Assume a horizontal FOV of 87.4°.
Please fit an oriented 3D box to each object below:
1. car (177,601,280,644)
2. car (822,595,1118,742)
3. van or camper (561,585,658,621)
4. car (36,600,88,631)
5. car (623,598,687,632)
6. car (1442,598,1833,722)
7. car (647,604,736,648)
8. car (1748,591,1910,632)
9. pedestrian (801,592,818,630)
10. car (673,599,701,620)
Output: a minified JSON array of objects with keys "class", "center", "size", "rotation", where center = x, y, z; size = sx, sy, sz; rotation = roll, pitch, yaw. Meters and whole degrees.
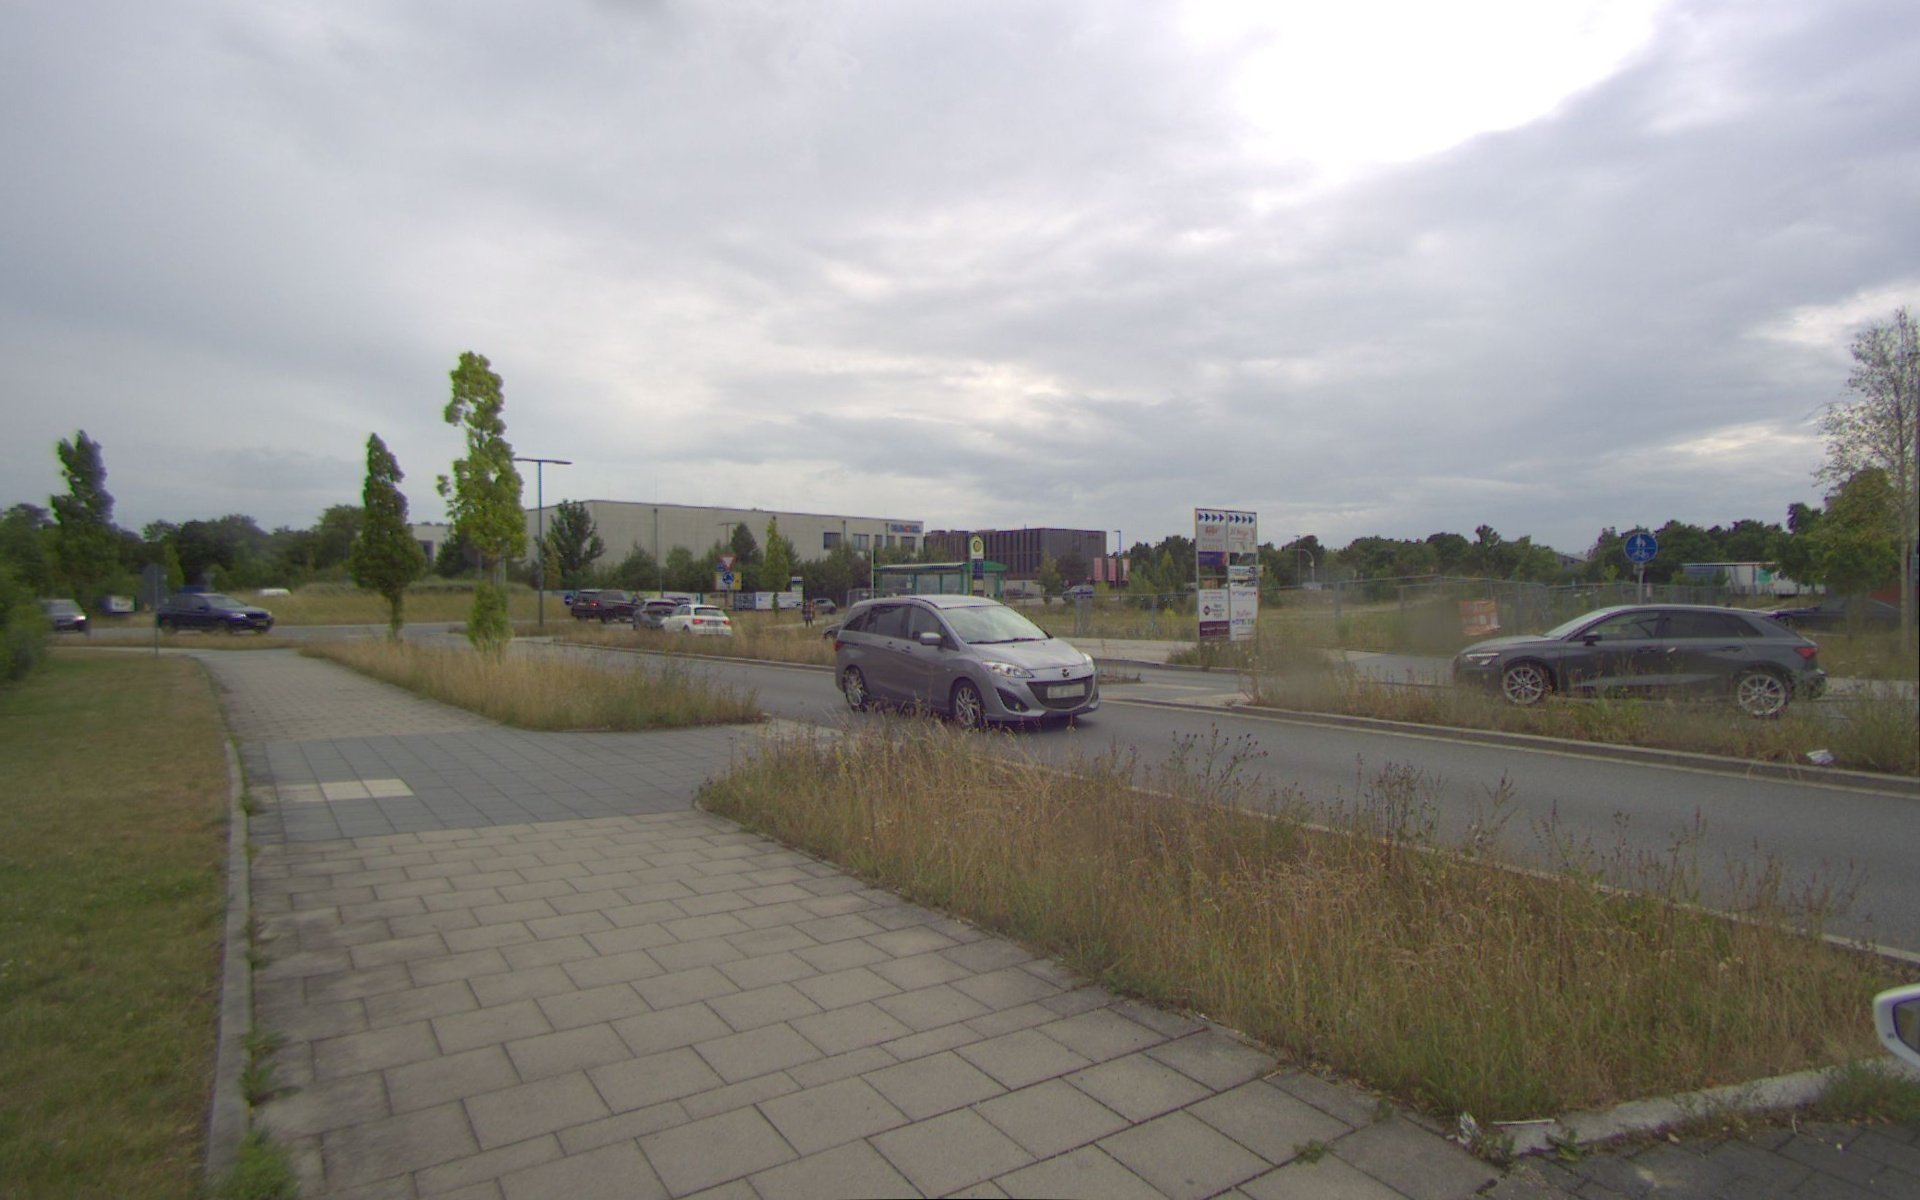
[{"class":"car","center":[-30.139,0.877,41.393],"size":[3.927,1.662,1.892],"rotation":[0,1,28]},{"class":"car","center":[-0.047,0.751,13.488],"size":[1.802,1.584,4.359],"rotation":[-2,1,-34]},{"class":"van or camper","center":[-18.173,0.141,52.316],"size":[1.965,1.772,4.561],"rotation":[1,1,32]},{"class":"car","center":[-40.936,0.675,45.821],"size":[1.547,1.372,3.256],"rotation":[0,1,-38]},{"class":"car","center":[-13.555,0.616,44.492],"size":[1.700,1.361,4.028],"rotation":[0,1,-33]},{"class":"car","center":[9.165,0.735,14.068],"size":[4.237,1.486,1.796],"rotation":[0,1,23]},{"class":"car","center":[-10.132,0.936,37.760],"size":[1.744,1.500,4.009],"rotation":[0,1,-39]},{"class":"car","center":[36.918,0.436,42.795],"size":[1.984,1.578,4.965],"rotation":[0,1,-40]},{"class":"pedestrian","center":[-7.022,0.521,46.814],"size":[0.729,1.745,0.650],"rotation":[1,1,-3]},{"class":"car","center":[-19.359,0.655,71.381],"size":[1.688,1.361,3.954],"rotation":[0,1,-12]}]
